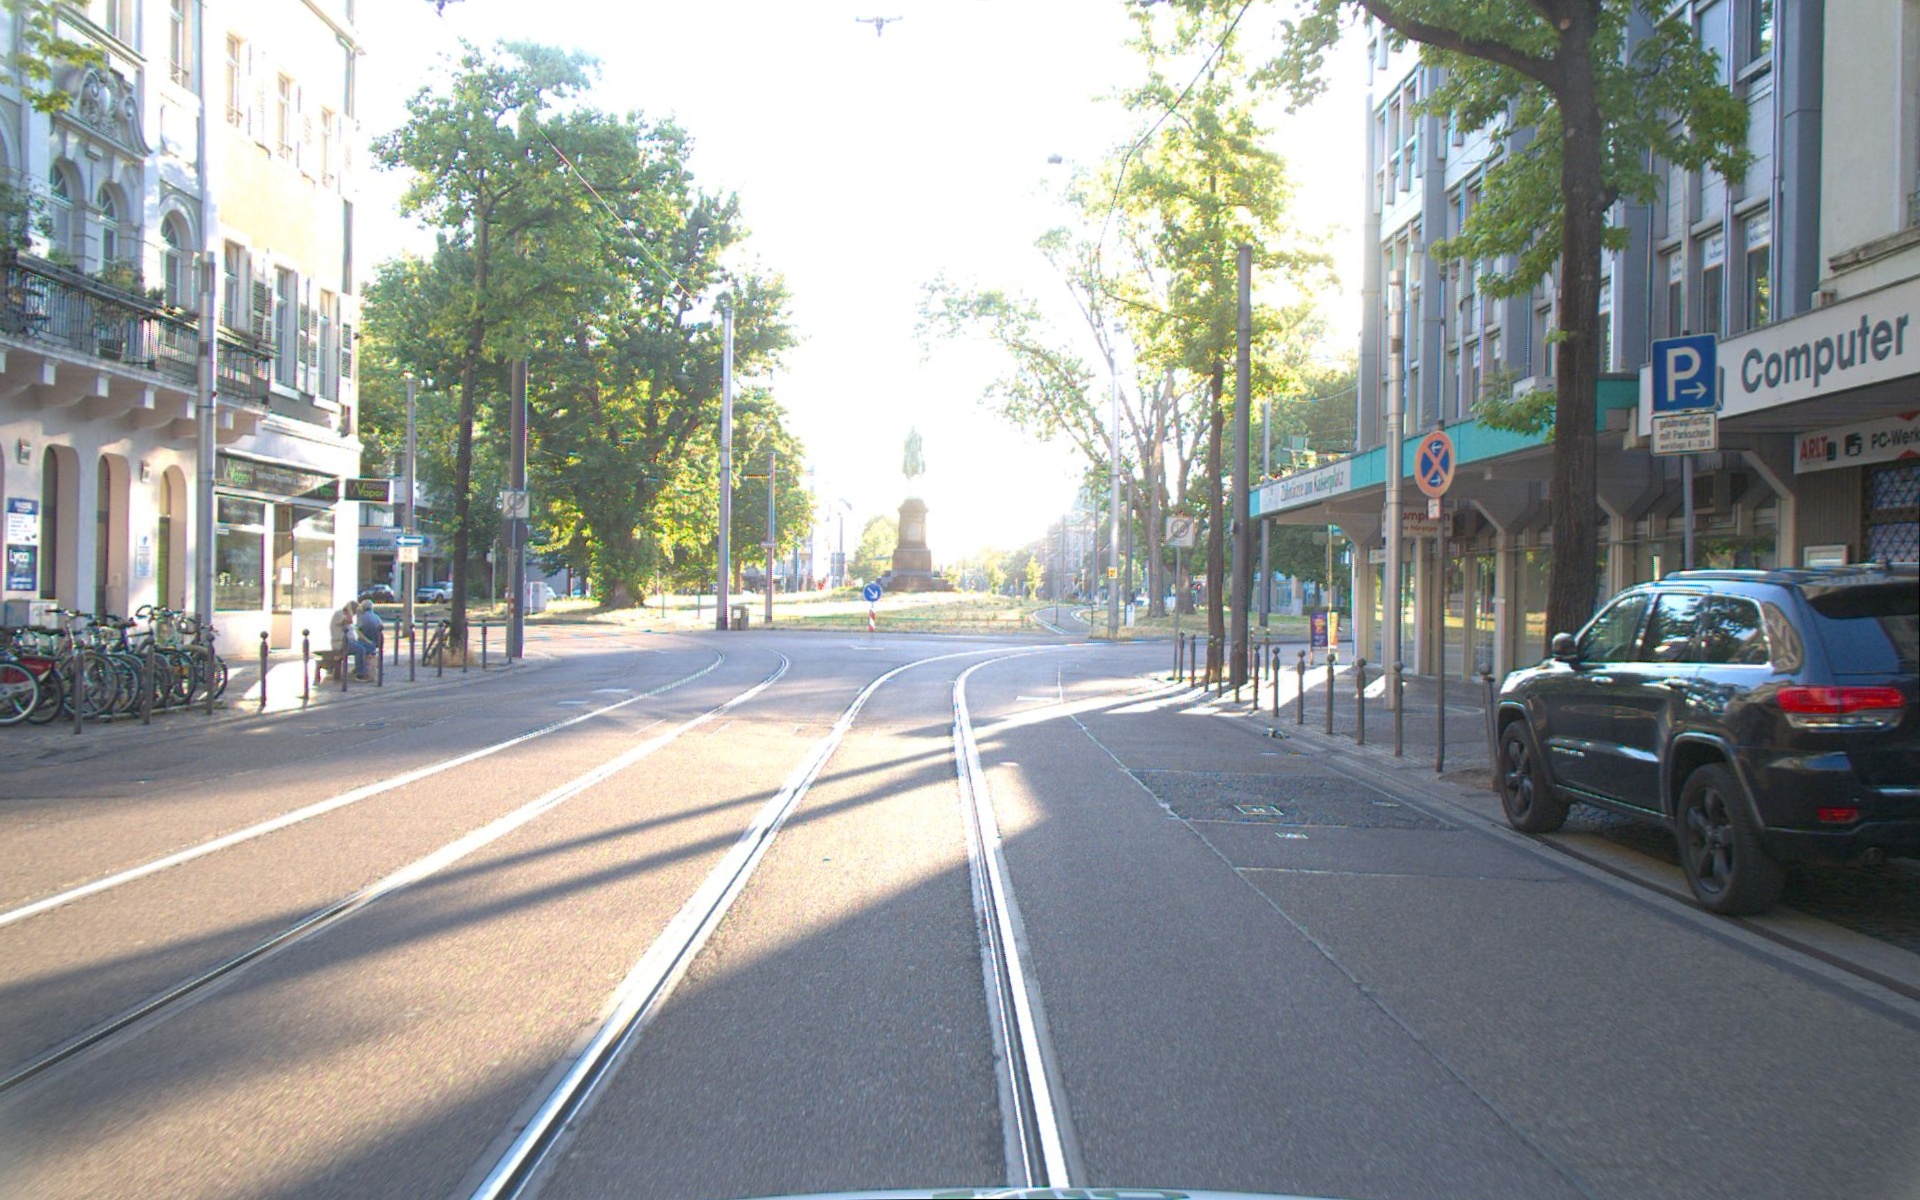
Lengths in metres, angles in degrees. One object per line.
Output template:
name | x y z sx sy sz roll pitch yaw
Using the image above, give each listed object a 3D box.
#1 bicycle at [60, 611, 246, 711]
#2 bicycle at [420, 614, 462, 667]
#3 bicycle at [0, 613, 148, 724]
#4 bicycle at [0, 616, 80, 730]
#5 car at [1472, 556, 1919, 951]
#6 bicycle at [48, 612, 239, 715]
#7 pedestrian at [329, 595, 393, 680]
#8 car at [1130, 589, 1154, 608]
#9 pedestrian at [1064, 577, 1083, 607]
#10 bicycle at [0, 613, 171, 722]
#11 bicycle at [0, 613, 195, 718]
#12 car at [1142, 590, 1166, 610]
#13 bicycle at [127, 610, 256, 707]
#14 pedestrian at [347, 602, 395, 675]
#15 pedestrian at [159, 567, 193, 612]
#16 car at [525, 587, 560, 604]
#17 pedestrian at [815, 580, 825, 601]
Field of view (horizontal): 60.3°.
bicycle | -9.838 0.739 20.199 1.982 1.124 0.501 2 -1 2
bicycle | -9.962 0.765 31.798 0.329 0.962 1.510 0 0 0
bicycle | -9.787 0.718 17.509 2.082 1.124 0.497 3 -1 -26
bicycle | -9.975 0.718 16.632 1.921 1.124 0.563 3 -1 -26
car | 4.860 0.677 10.054 1.899 1.790 4.679 -3 0 -1
bicycle | -9.672 0.746 19.616 1.982 1.124 0.501 2 -1 2
pedestrian | -9.589 0.594 26.500 0.713 1.313 0.856 1 0 -3
car | 20.685 -0.145 188.073 2.095 2.049 3.999 1 1 -1
pedestrian | 6.111 -0.443 88.988 0.765 1.634 0.628 0 0 -44
bicycle | -9.782 0.741 18.133 1.999 1.124 0.497 3 -1 -26
bicycle | -9.796 0.750 18.734 1.999 1.124 0.497 3 -1 -26
car | 20.903 -0.010 178.350 2.095 2.049 3.999 1 1 -1
bicycle | -9.804 0.729 21.071 1.988 1.124 0.499 2 -1 34
pedestrian | -10.017 0.648 28.133 0.579 1.214 0.641 1 0 -3
pedestrian | -25.089 -0.349 52.949 0.758 1.435 0.741 1 0 41
car | -35.668 -0.417 141.386 1.838 1.445 3.926 1 0 2
pedestrian | -11.220 -0.758 132.865 0.754 1.634 0.637 0 0 -8
